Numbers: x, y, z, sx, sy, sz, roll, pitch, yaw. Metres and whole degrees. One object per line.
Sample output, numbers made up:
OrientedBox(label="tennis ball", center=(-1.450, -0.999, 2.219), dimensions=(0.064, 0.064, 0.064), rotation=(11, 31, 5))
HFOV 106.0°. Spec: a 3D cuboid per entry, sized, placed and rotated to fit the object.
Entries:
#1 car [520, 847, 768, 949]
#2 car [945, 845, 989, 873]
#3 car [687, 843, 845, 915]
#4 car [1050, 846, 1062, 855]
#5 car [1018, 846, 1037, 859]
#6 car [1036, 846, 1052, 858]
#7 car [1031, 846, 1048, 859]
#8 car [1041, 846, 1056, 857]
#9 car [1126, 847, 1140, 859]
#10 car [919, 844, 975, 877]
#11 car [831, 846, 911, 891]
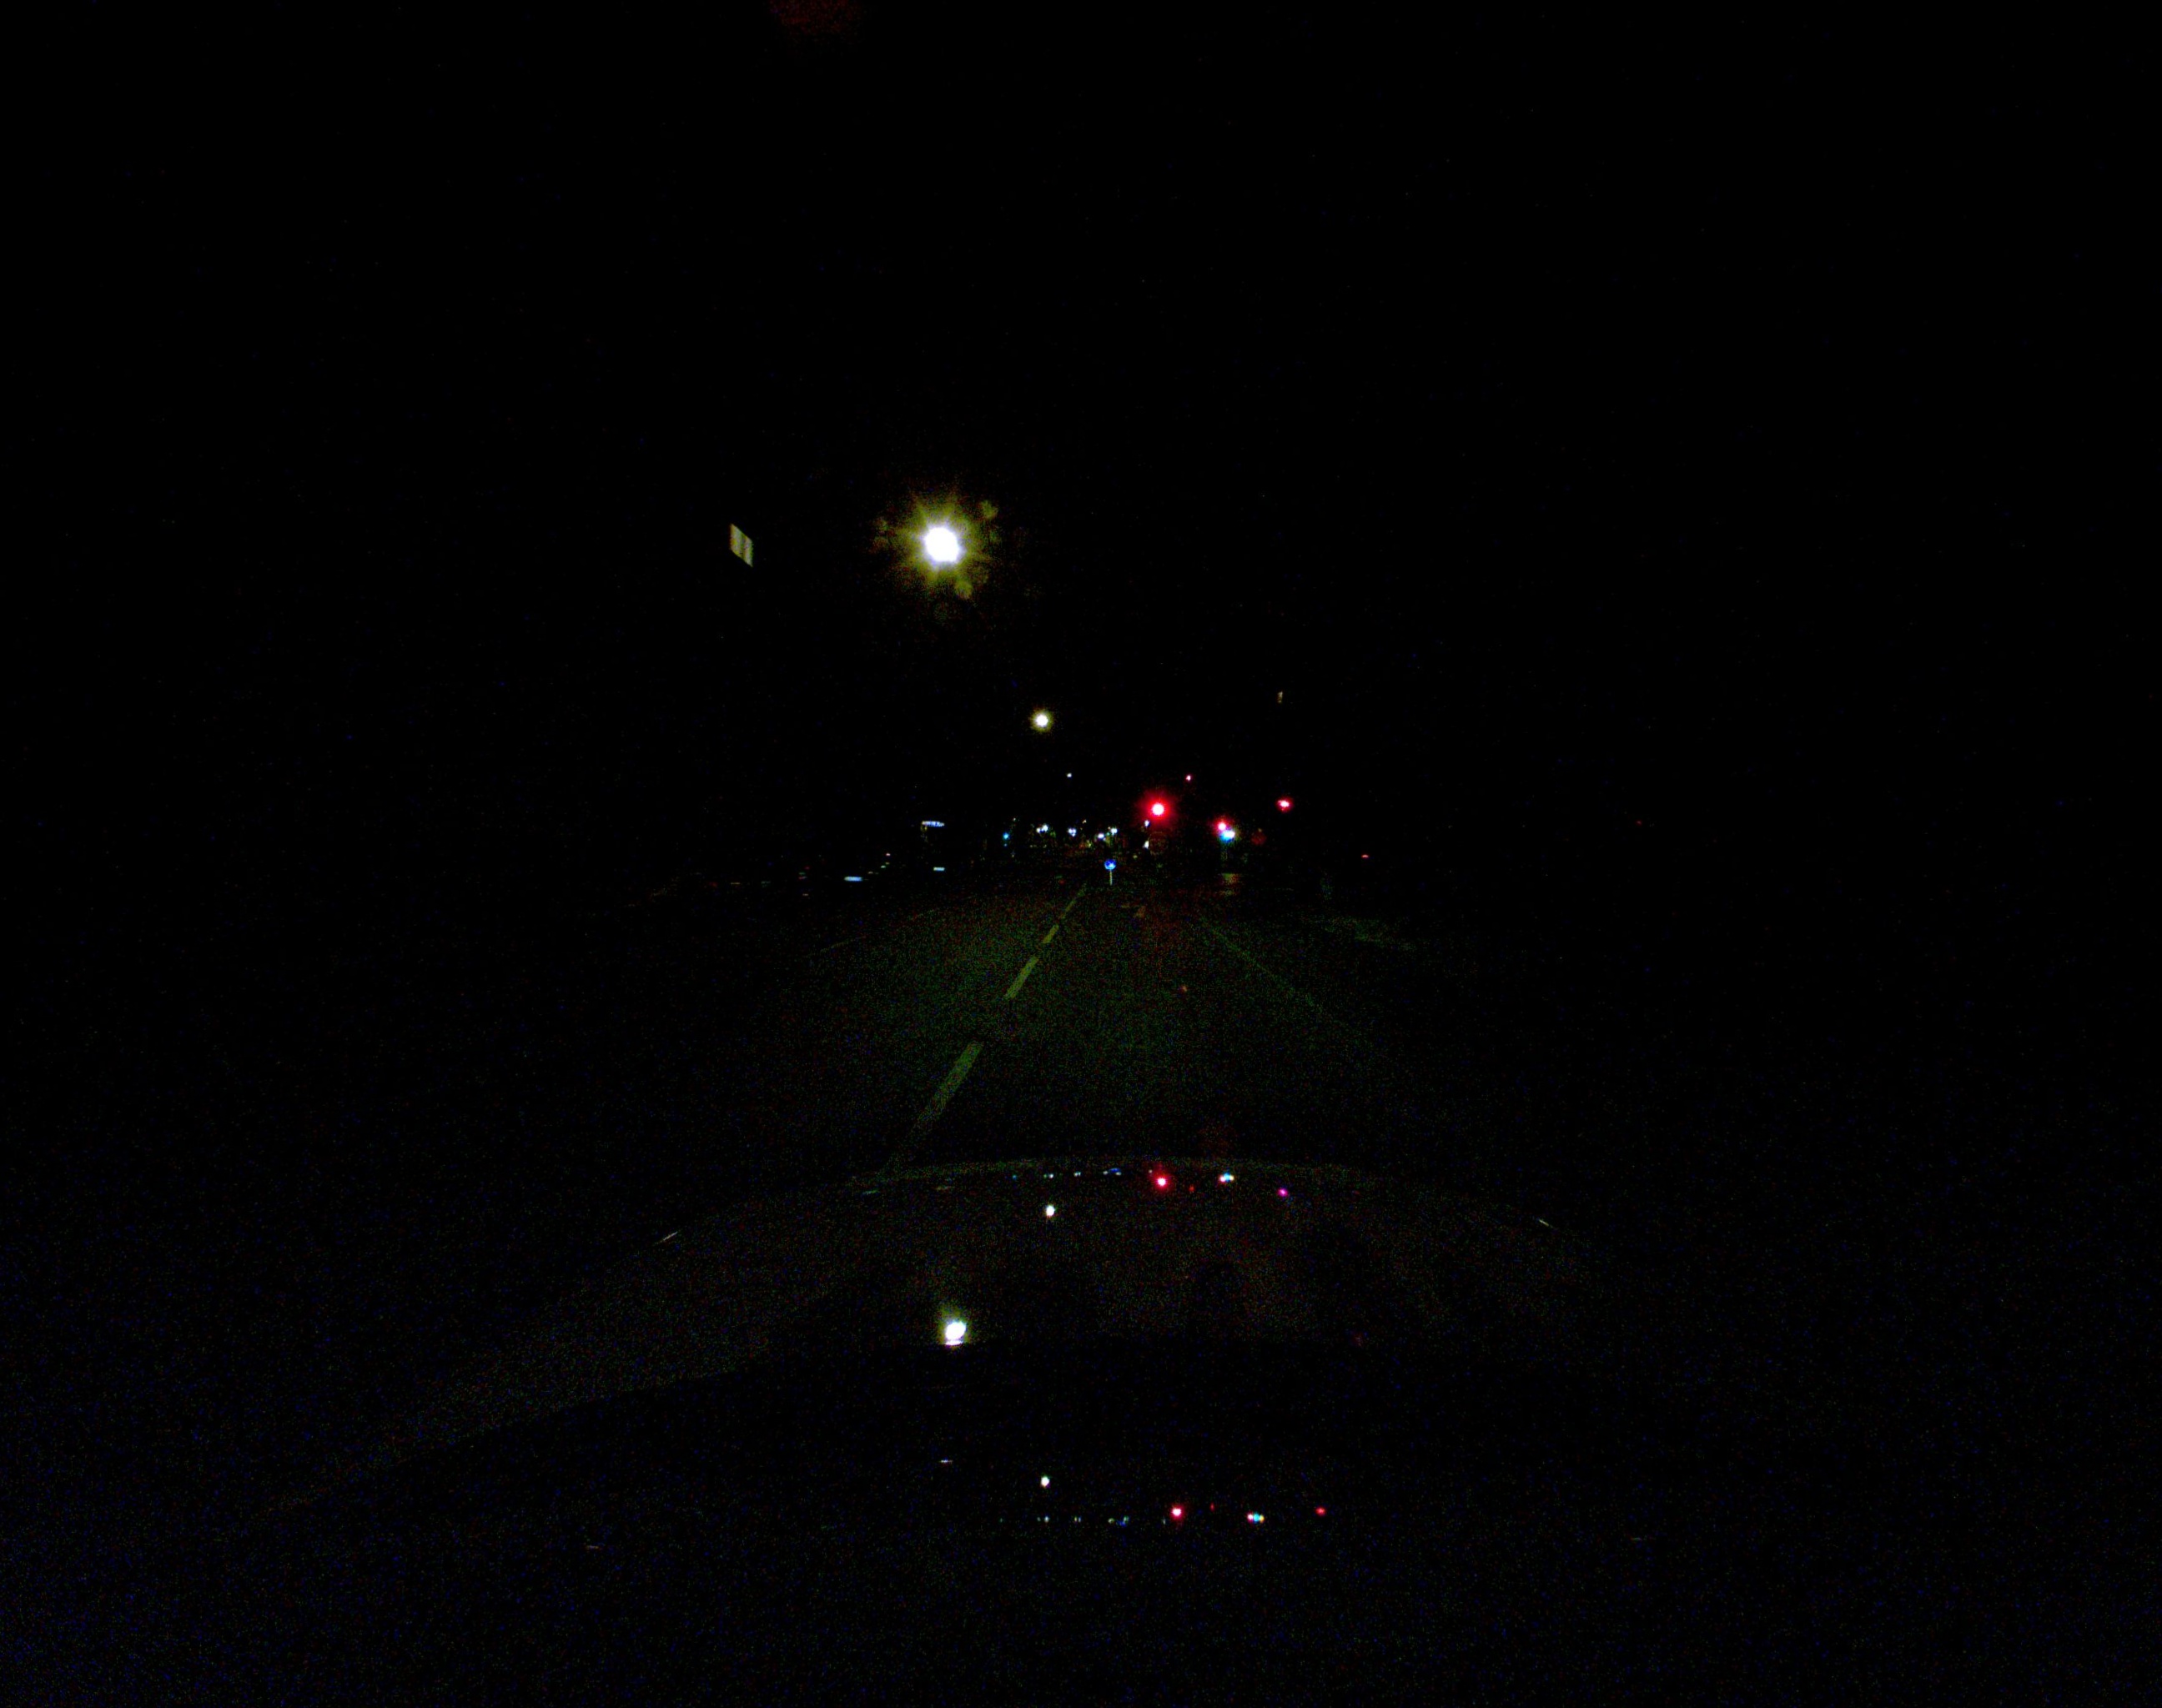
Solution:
OrientedBox(label="car", center=(-7.310, 0.634, 14.297), dimensions=(1.762, 1.485, 4.767), rotation=(0, 0, 0))
OrientedBox(label="car", center=(-6.354, 0.252, 45.835), dimensions=(1.797, 1.481, 4.324), rotation=(1, 0, 1))
OrientedBox(label="car", center=(-7.248, 0.505, 19.341), dimensions=(1.762, 1.485, 4.865), rotation=(0, 0, 1))
OrientedBox(label="car", center=(-3.789, -0.515, 123.155), dimensions=(1.645, 1.431, 4.002), rotation=(0, 0, 2))
OrientedBox(label="car", center=(-5.805, -0.193, 88.369), dimensions=(1.645, 1.431, 4.002), rotation=(0, 0, 2))
OrientedBox(label="car", center=(-4.652, -0.293, 102.537), dimensions=(1.645, 1.431, 4.002), rotation=(0, 0, 2))
OrientedBox(label="car", center=(-4.934, -0.208, 96.528), dimensions=(1.645, 1.431, 4.002), rotation=(0, 0, 2))
OrientedBox(label="car", center=(-4.341, -0.366, 109.421), dimensions=(1.645, 1.431, 4.002), rotation=(0, 0, 2))
OrientedBox(label="car", center=(6.290, -0.120, 98.660), dimensions=(1.644, 1.431, 4.004), rotation=(0, 0, 3))
OrientedBox(label="car", center=(-6.644, 0.266, 40.843), dimensions=(1.892, 1.471, 4.454), rotation=(2, 1, 2))
OrientedBox(label="car", center=(-7.035, 0.447, 27.681), dimensions=(1.617, 1.382, 4.450), rotation=(0, 0, -1))
